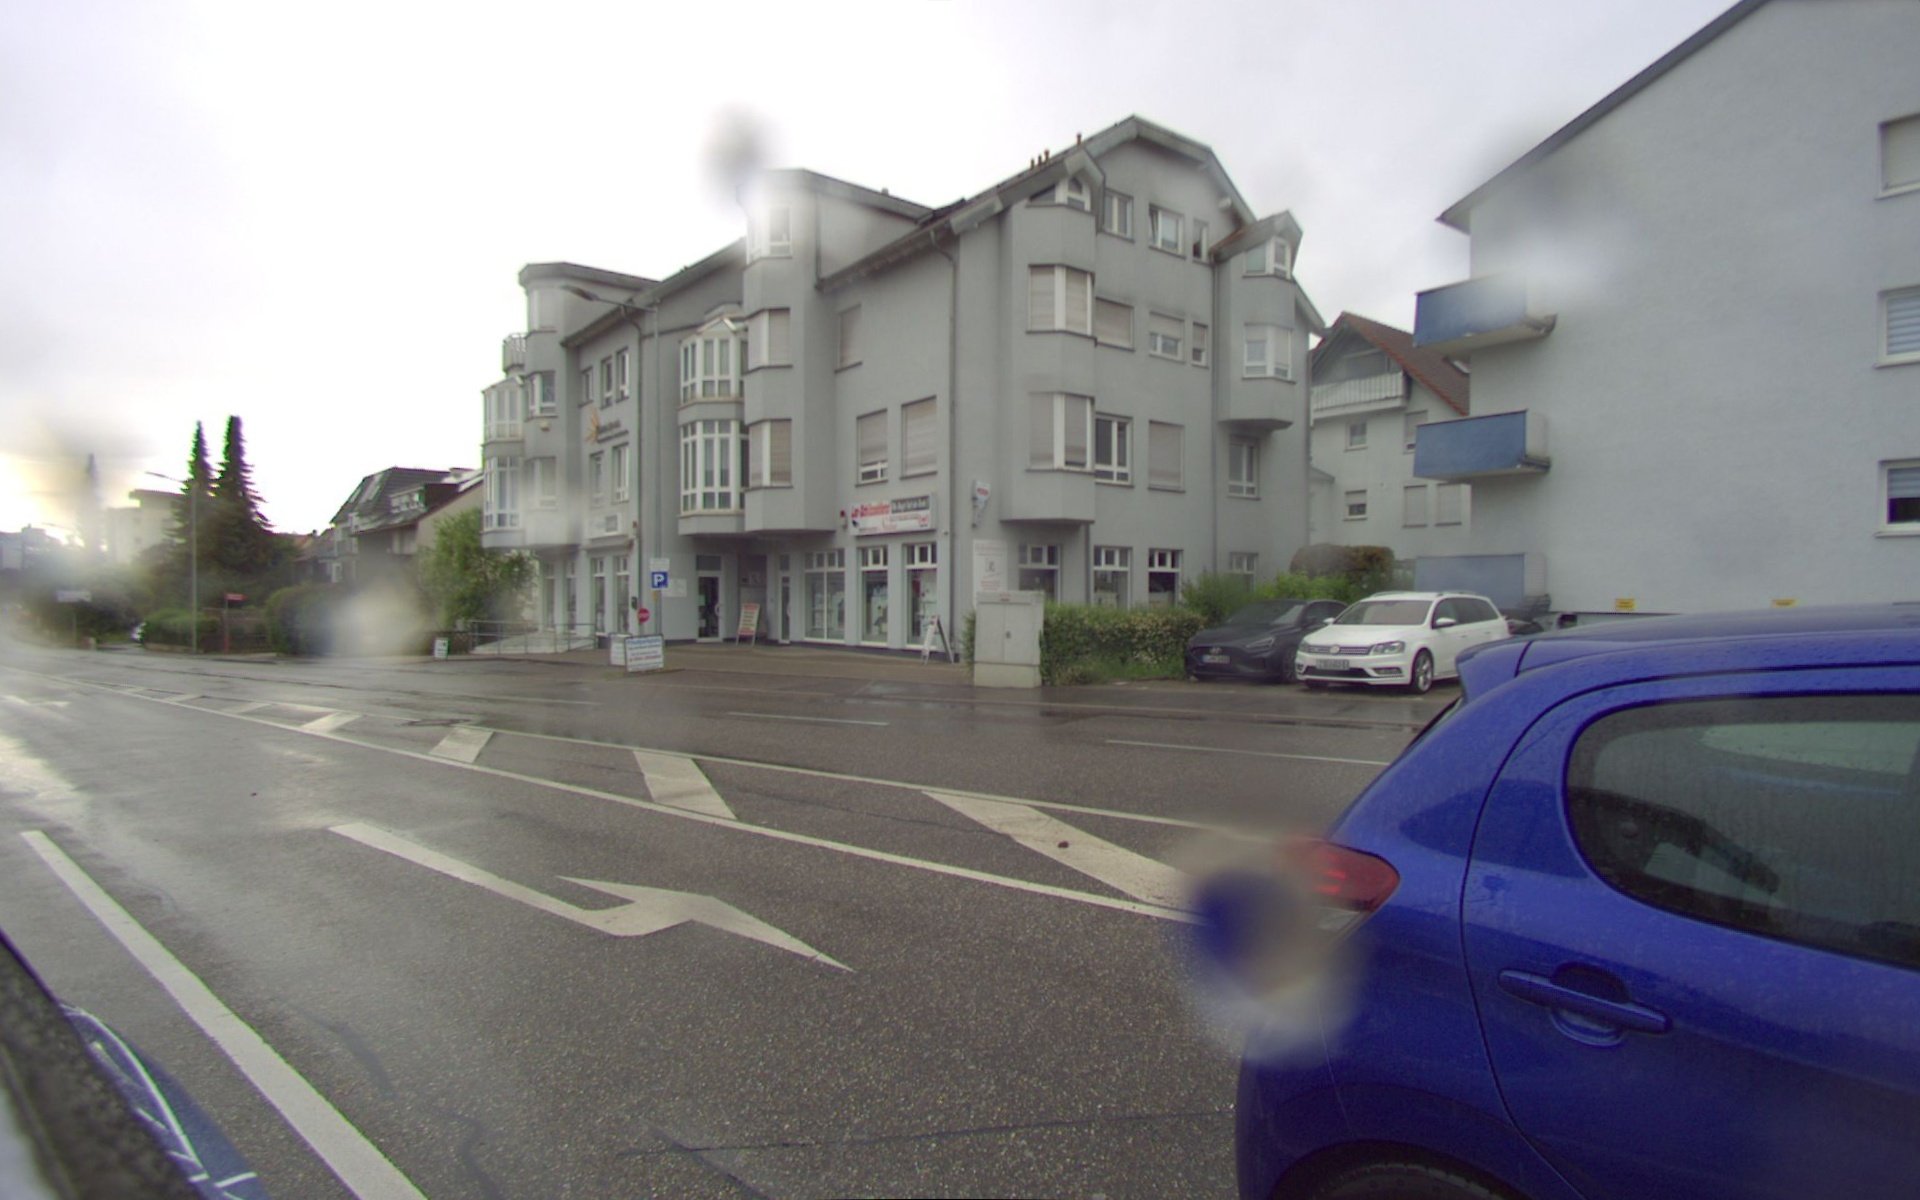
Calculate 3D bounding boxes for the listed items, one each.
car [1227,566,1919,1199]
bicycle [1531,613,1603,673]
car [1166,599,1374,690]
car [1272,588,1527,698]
[{"bbox_3d":[2.226,0.643,1.208,3.362,1.423,1.489,-2,-1,41],"label":"car"},{"bbox_3d":[11.133,0.792,18.573,1.065,1.061,0.343,-2,-1,41],"label":"bicycle"},{"bbox_3d":[5.483,0.689,17.661,1.851,1.366,3.941,-1,0,45],"label":"car"},{"bbox_3d":[6.972,0.604,15.816,4.685,1.471,1.883,0,-2,-42],"label":"car"}]
